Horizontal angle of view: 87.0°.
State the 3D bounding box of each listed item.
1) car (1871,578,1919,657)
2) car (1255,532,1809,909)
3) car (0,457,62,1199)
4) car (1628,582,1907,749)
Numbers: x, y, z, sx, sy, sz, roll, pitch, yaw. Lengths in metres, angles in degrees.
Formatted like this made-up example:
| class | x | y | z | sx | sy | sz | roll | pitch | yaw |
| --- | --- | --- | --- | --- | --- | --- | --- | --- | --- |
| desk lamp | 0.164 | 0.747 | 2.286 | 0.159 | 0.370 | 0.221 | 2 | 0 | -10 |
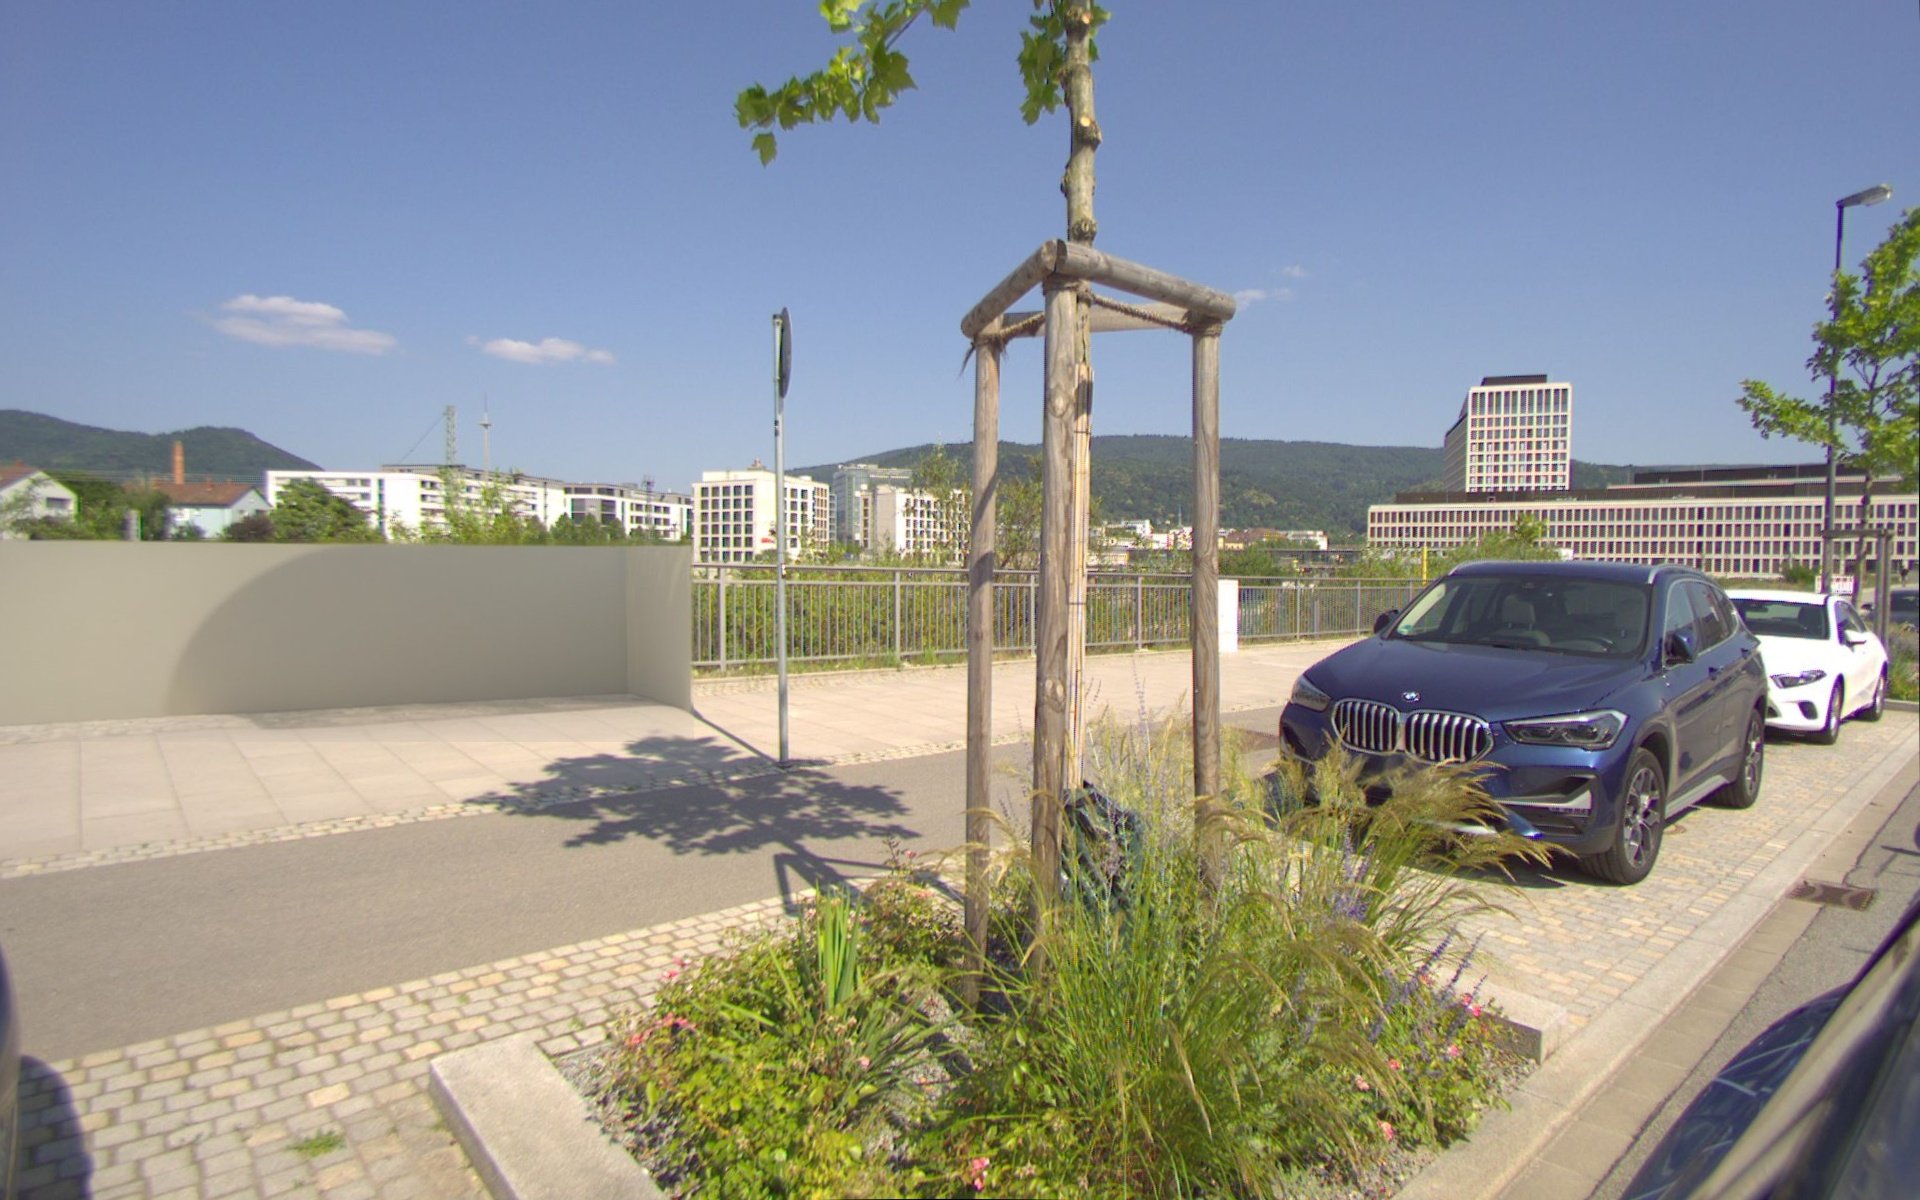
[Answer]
| class | x | y | z | sx | sy | sz | roll | pitch | yaw |
| --- | --- | --- | --- | --- | --- | --- | --- | --- | --- |
| car | 20.416 | 0.318 | 21.094 | 3.930 | 1.558 | 1.663 | -1 | 0 | -41 |
| car | 3.812 | 0.494 | 6.408 | 4.164 | 1.627 | 1.768 | -1 | 0 | -41 |
| car | -2.994 | 0.560 | 0.383 | 3.931 | 1.444 | 1.663 | -1 | 3 | -41 |
| car | 8.770 | 0.556 | 10.882 | 3.930 | 1.473 | 1.663 | -1 | 0 | -41 |
